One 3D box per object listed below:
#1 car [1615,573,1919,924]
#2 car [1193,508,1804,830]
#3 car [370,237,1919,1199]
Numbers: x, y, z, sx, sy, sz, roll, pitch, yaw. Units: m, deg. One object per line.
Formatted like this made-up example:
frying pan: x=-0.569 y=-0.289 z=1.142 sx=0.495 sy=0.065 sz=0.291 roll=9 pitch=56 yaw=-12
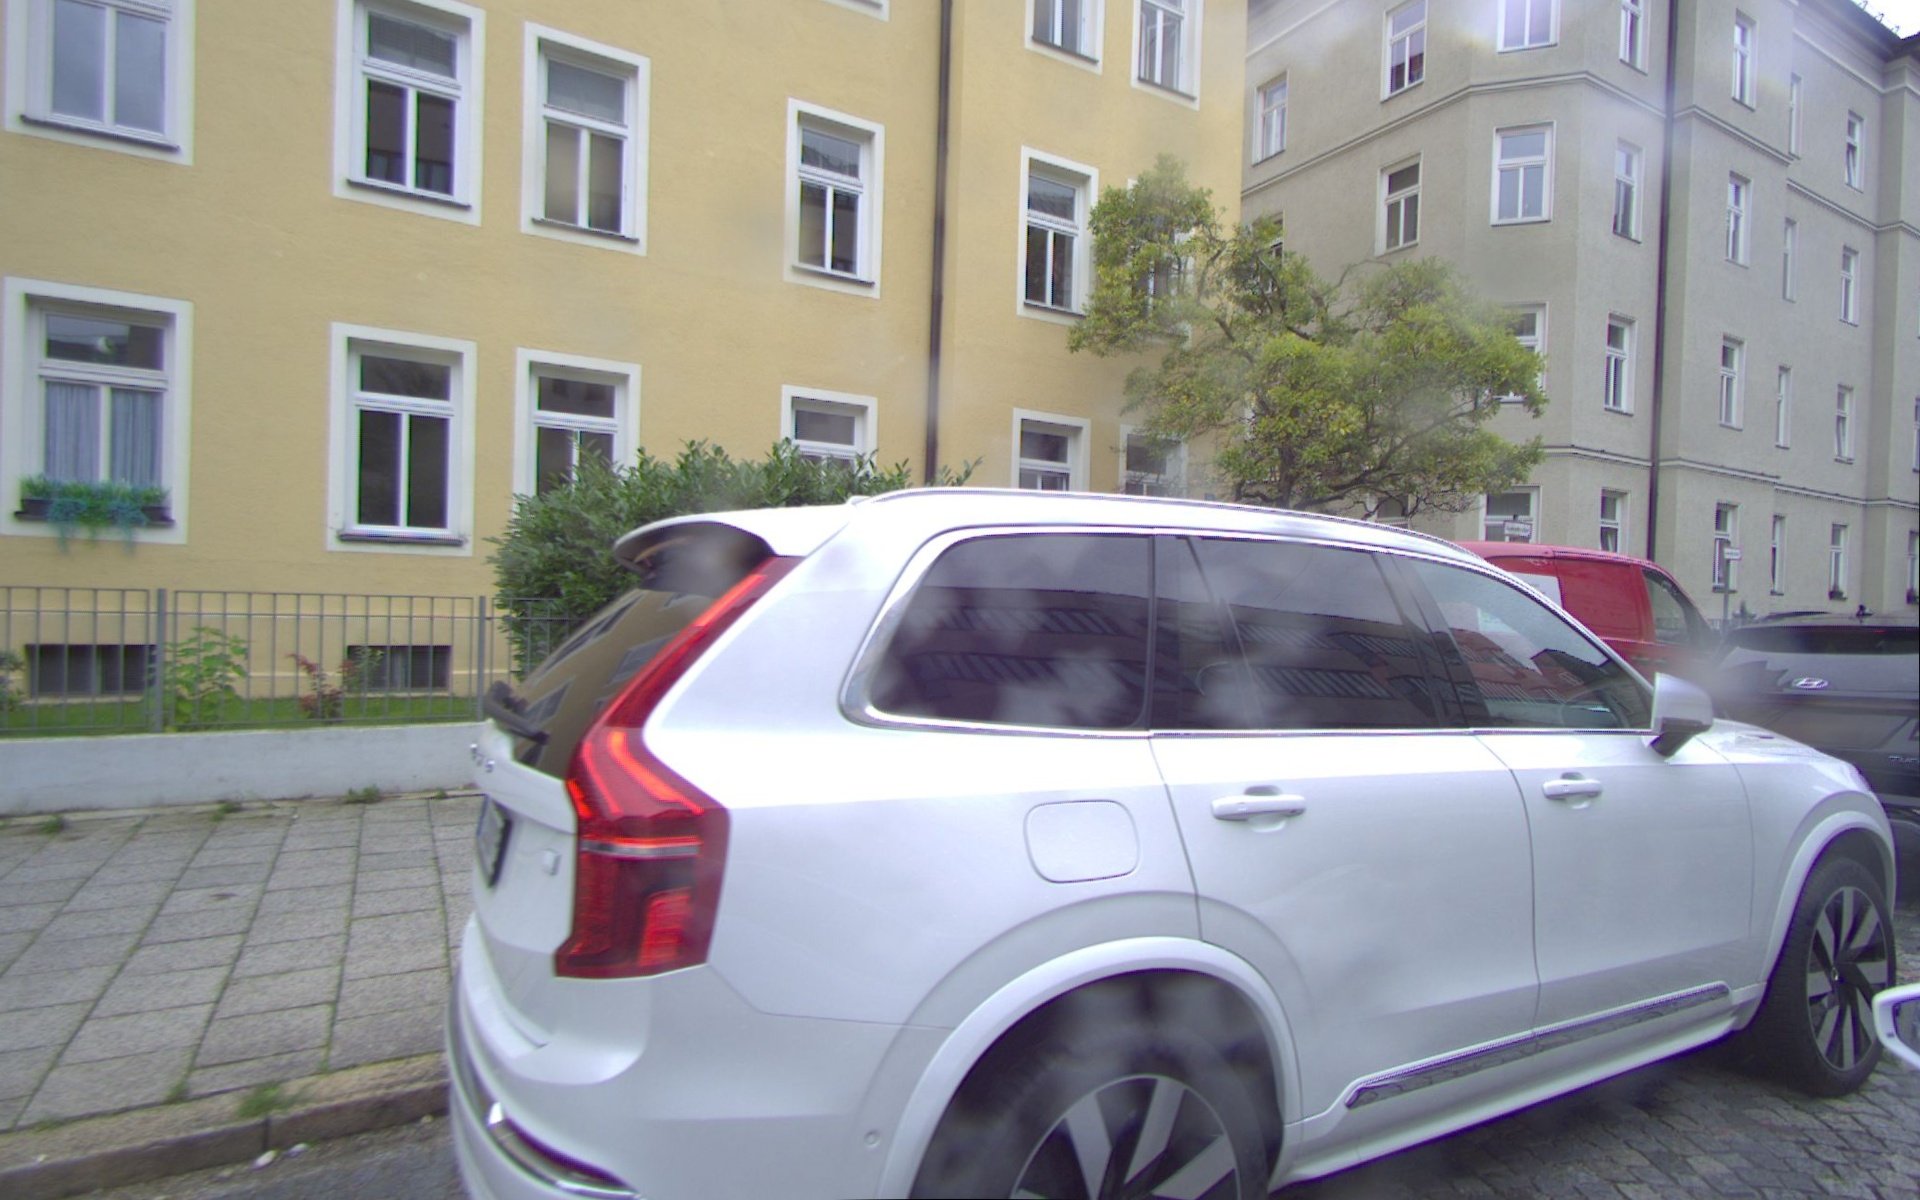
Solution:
car: x=6.634 y=0.828 z=6.631 sx=4.698 sy=1.757 sz=1.909 roll=2 pitch=-3 yaw=-30
car: x=4.598 y=0.435 z=8.302 sx=5.270 sy=1.957 sz=1.983 roll=2 pitch=2 yaw=-31
car: x=1.034 y=0.545 z=3.363 sx=5.112 sy=1.833 sz=1.997 roll=2 pitch=-1 yaw=-29
